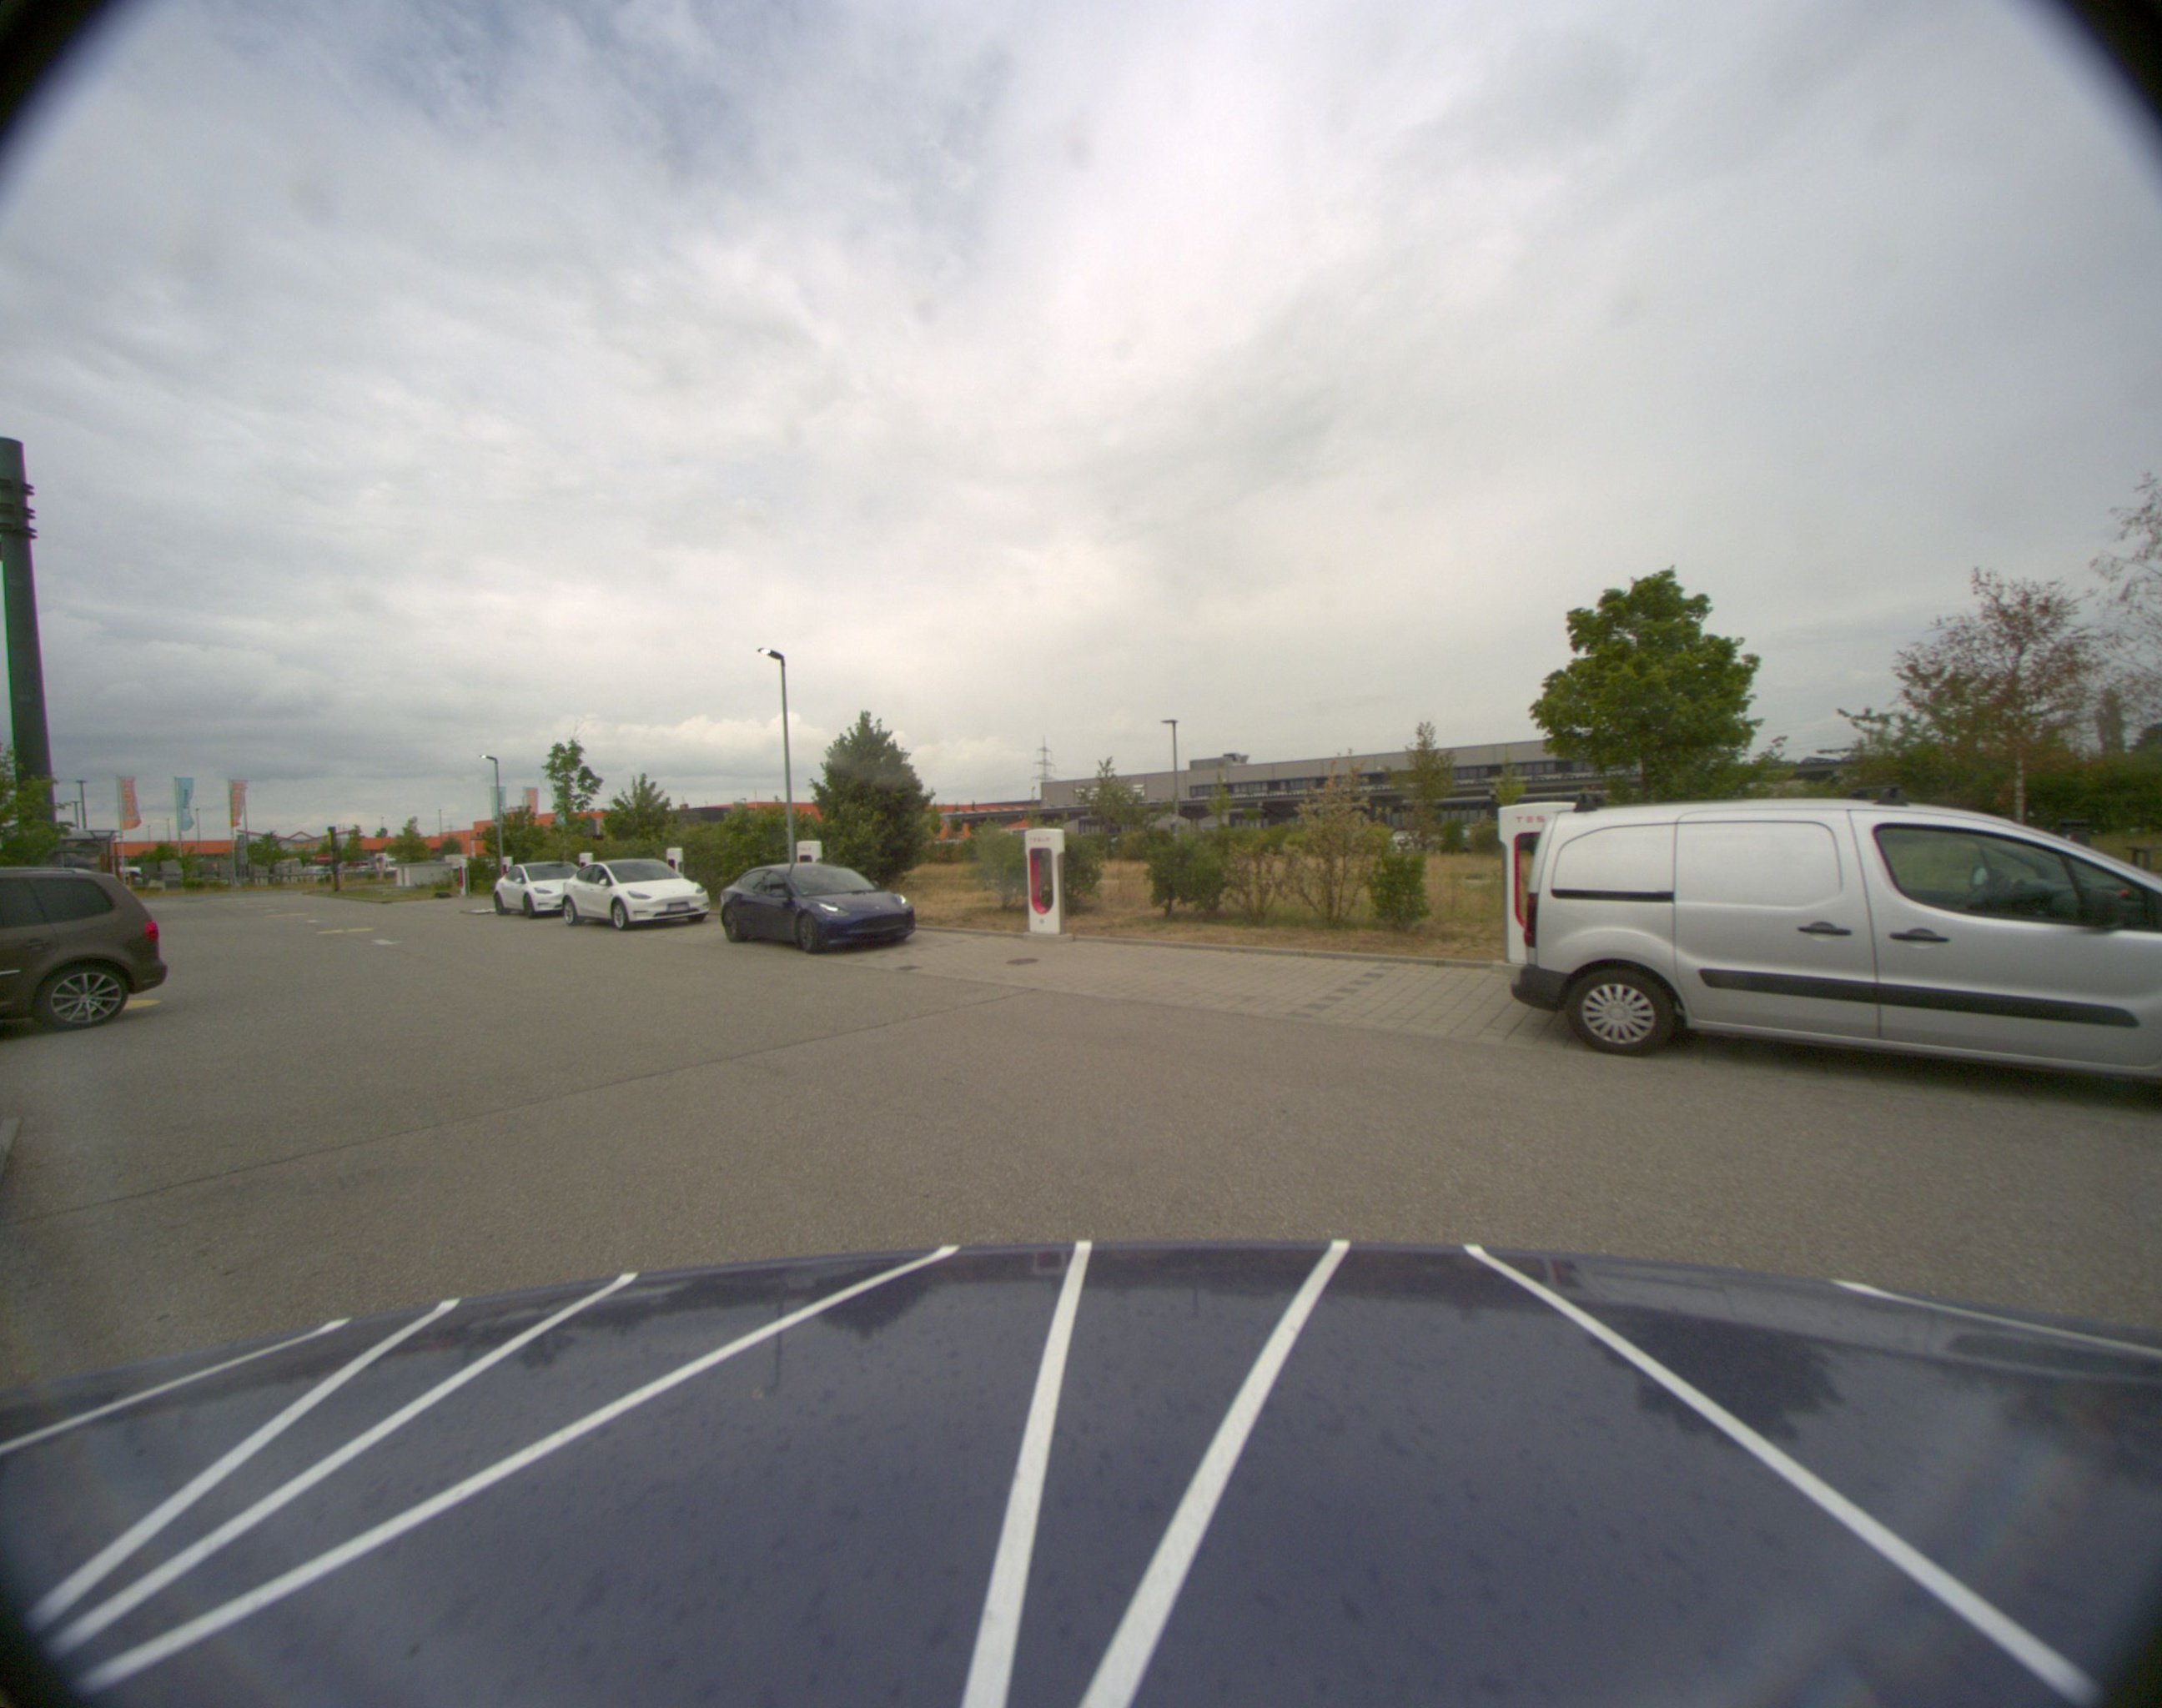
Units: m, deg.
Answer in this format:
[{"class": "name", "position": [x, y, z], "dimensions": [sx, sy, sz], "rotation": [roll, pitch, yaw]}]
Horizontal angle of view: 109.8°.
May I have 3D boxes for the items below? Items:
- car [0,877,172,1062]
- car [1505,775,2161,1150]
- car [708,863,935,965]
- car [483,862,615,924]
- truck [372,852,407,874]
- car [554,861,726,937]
[{"class": "car", "position": [-11.107, 1.127, 6.304], "dimensions": [1.808, 1.680, 4.193], "rotation": [-1, 1, 8]}, {"class": "car", "position": [5.430, 0.533, 5.022], "dimensions": [4.324, 1.877, 1.950], "rotation": [0, 1, 39]}, {"class": "car", "position": [-4.795, 0.938, 13.694], "dimensions": [4.443, 1.451, 1.837], "rotation": [-1, 3, 41]}, {"class": "car", "position": [-16.600, 1.126, 23.601], "dimensions": [4.930, 1.593, 2.077], "rotation": [0, 3, 40]}, {"class": "truck", "position": [-80.728, 1.042, 88.649], "dimensions": [5.444, 2.435, 2.153], "rotation": [0, 1, 39]}, {"class": "car", "position": [-11.003, 1.035, 18.836], "dimensions": [4.465, 1.545, 2.077], "rotation": [-1, 2, 38]}]
